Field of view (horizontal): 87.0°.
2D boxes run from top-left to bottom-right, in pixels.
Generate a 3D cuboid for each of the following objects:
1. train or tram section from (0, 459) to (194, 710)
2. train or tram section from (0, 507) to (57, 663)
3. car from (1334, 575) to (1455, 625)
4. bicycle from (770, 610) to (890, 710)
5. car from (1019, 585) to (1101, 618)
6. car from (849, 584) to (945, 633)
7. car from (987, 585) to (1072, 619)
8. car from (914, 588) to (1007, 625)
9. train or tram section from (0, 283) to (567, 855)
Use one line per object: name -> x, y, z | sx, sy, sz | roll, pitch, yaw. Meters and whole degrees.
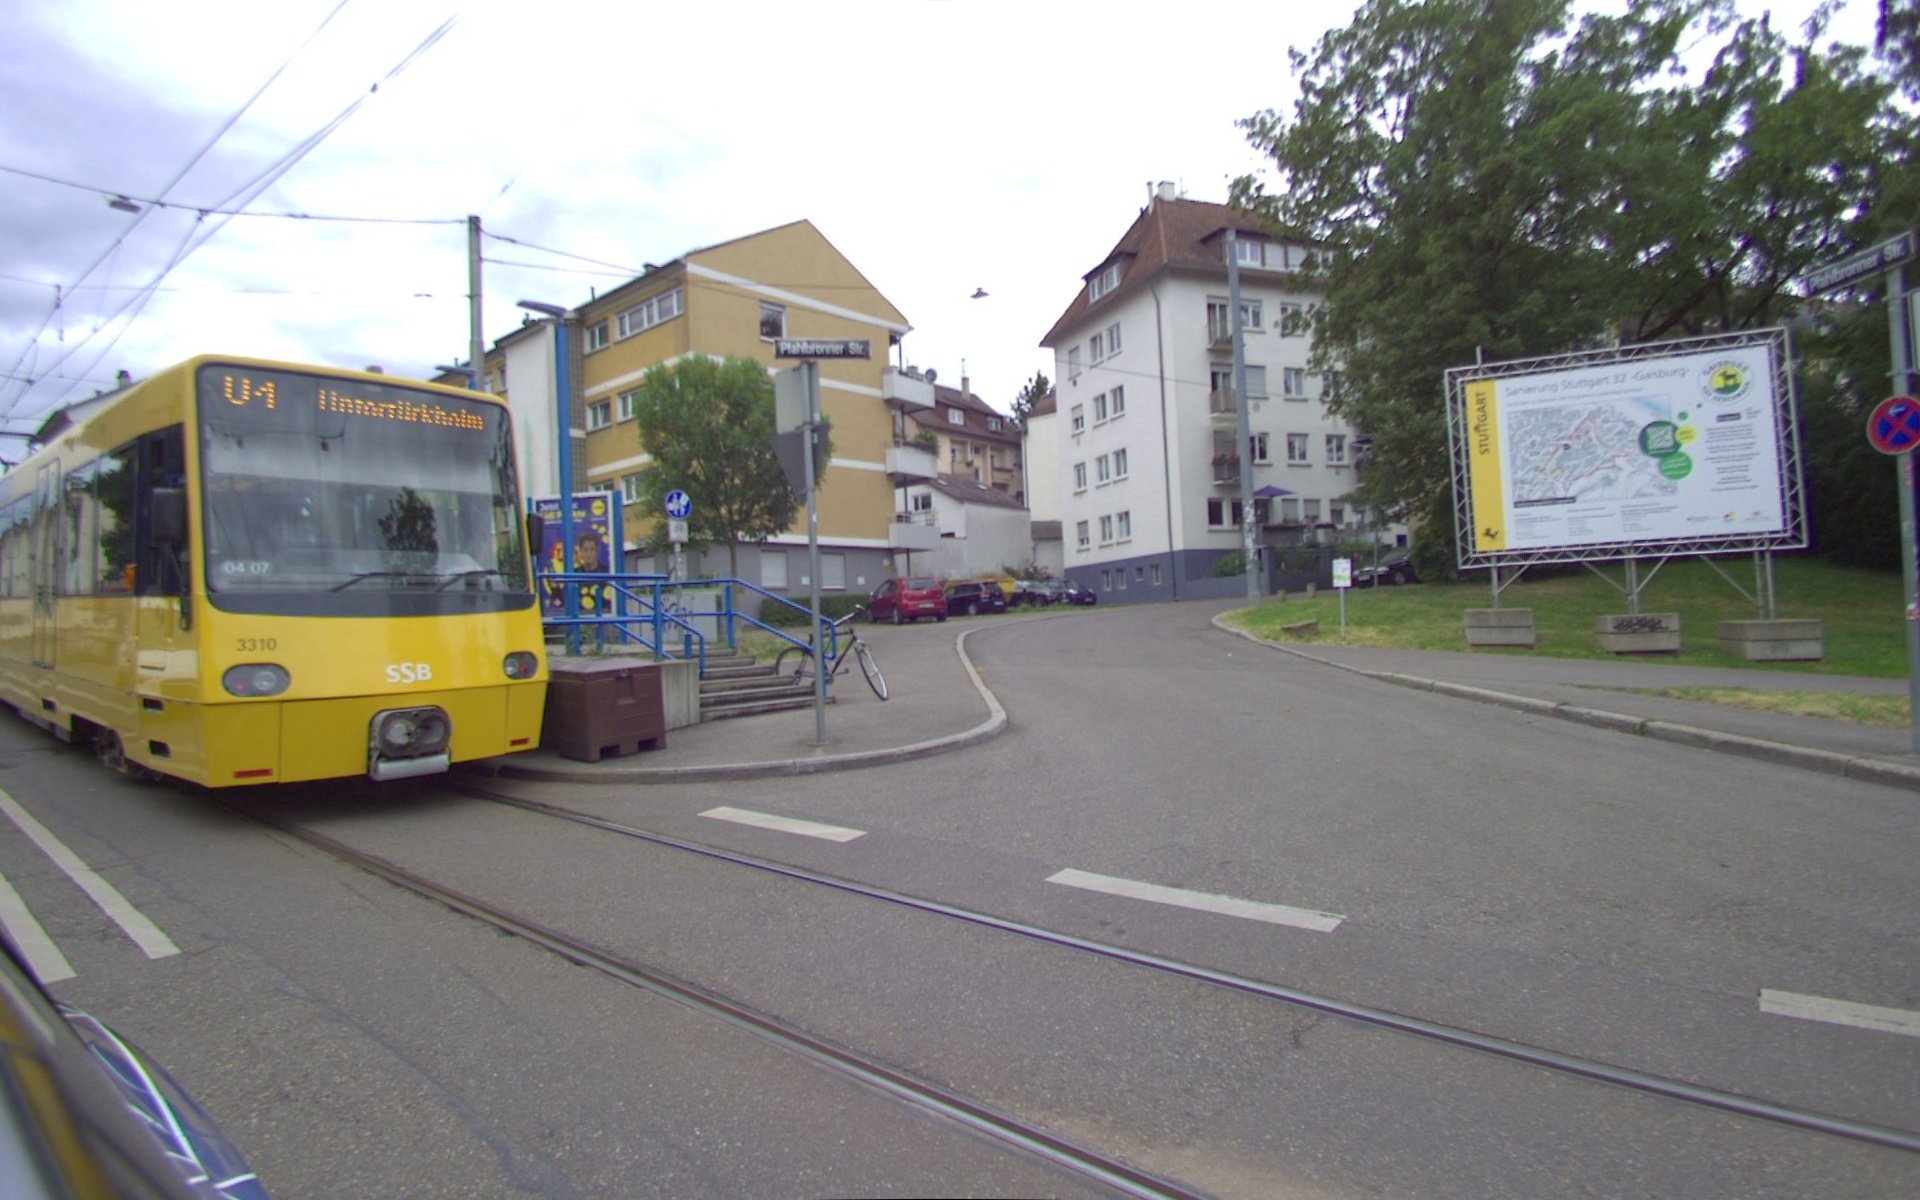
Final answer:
train or tram section -> -18.046, -0.161, 19.422 | 12.121, 3.664, 2.795 | -1, 0, 40
train or tram section -> -27.325, -0.278, 27.350 | 12.121, 3.664, 2.723 | -1, 0, 40
car -> 15.791, -0.007, 36.774 | 3.930, 1.741, 1.853 | -1, 0, -25
bicycle -> -1.657, 0.721, 12.833 | 1.487, 1.190, 0.704 | 0, -1, 41
car -> 4.769, 0.082, 48.802 | 1.811, 1.475, 4.011 | -1, 0, -34
car -> -2.120, 0.266, 32.976 | 1.810, 1.475, 4.013 | -1, 0, -24
car -> 3.169, 0.100, 46.779 | 1.811, 1.475, 4.011 | -1, 0, -34
car -> -0.024, 0.262, 42.737 | 1.813, 1.475, 4.007 | -1, 0, -40
train or tram section -> -8.854, -0.135, 11.527 | 12.123, 3.664, 2.820 | -1, 0, 41
